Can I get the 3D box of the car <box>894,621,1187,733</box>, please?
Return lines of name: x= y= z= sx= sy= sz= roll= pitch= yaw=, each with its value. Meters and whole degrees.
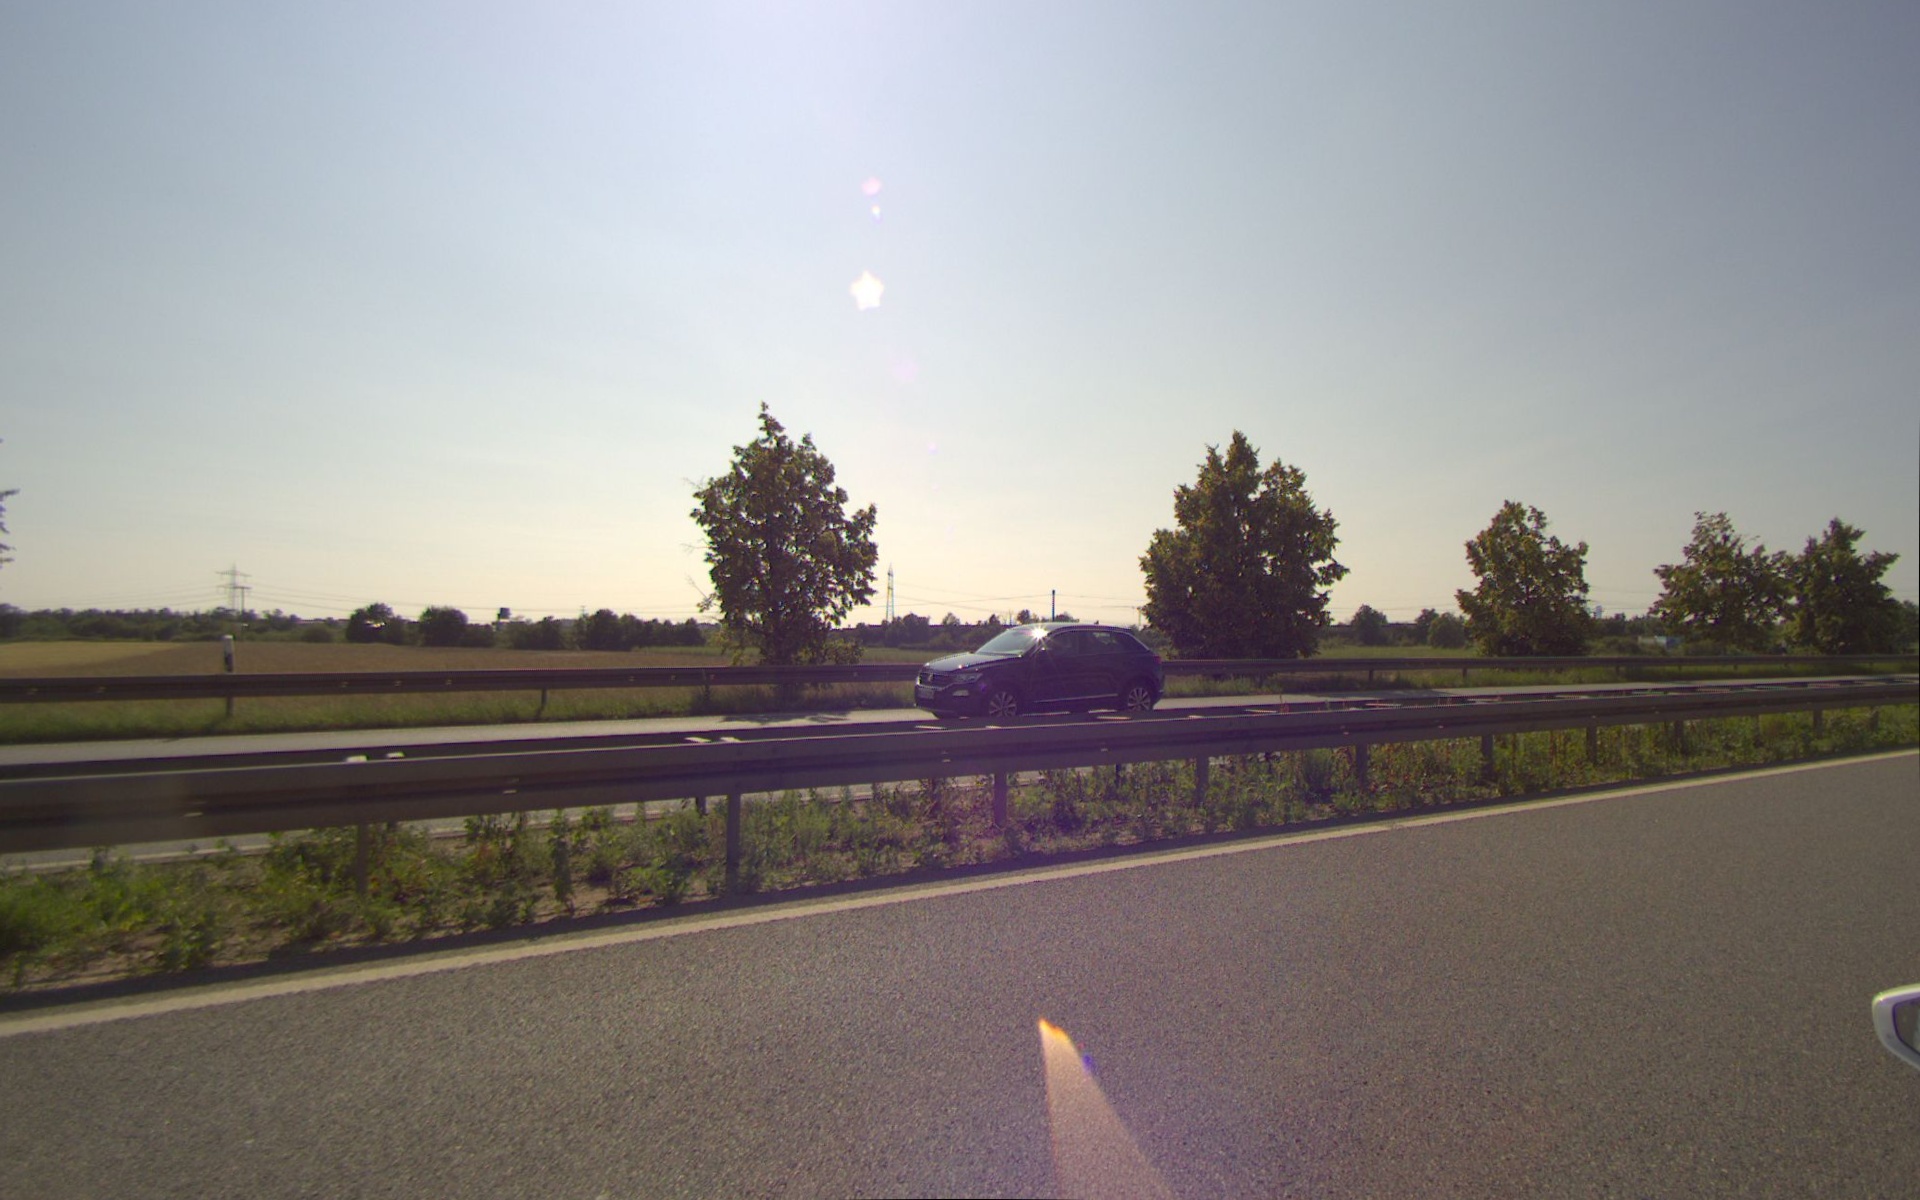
car: x=1.320 y=1.147 z=15.918 sx=4.400 sy=1.562 sz=1.805 roll=1 pitch=-2 yaw=-29
